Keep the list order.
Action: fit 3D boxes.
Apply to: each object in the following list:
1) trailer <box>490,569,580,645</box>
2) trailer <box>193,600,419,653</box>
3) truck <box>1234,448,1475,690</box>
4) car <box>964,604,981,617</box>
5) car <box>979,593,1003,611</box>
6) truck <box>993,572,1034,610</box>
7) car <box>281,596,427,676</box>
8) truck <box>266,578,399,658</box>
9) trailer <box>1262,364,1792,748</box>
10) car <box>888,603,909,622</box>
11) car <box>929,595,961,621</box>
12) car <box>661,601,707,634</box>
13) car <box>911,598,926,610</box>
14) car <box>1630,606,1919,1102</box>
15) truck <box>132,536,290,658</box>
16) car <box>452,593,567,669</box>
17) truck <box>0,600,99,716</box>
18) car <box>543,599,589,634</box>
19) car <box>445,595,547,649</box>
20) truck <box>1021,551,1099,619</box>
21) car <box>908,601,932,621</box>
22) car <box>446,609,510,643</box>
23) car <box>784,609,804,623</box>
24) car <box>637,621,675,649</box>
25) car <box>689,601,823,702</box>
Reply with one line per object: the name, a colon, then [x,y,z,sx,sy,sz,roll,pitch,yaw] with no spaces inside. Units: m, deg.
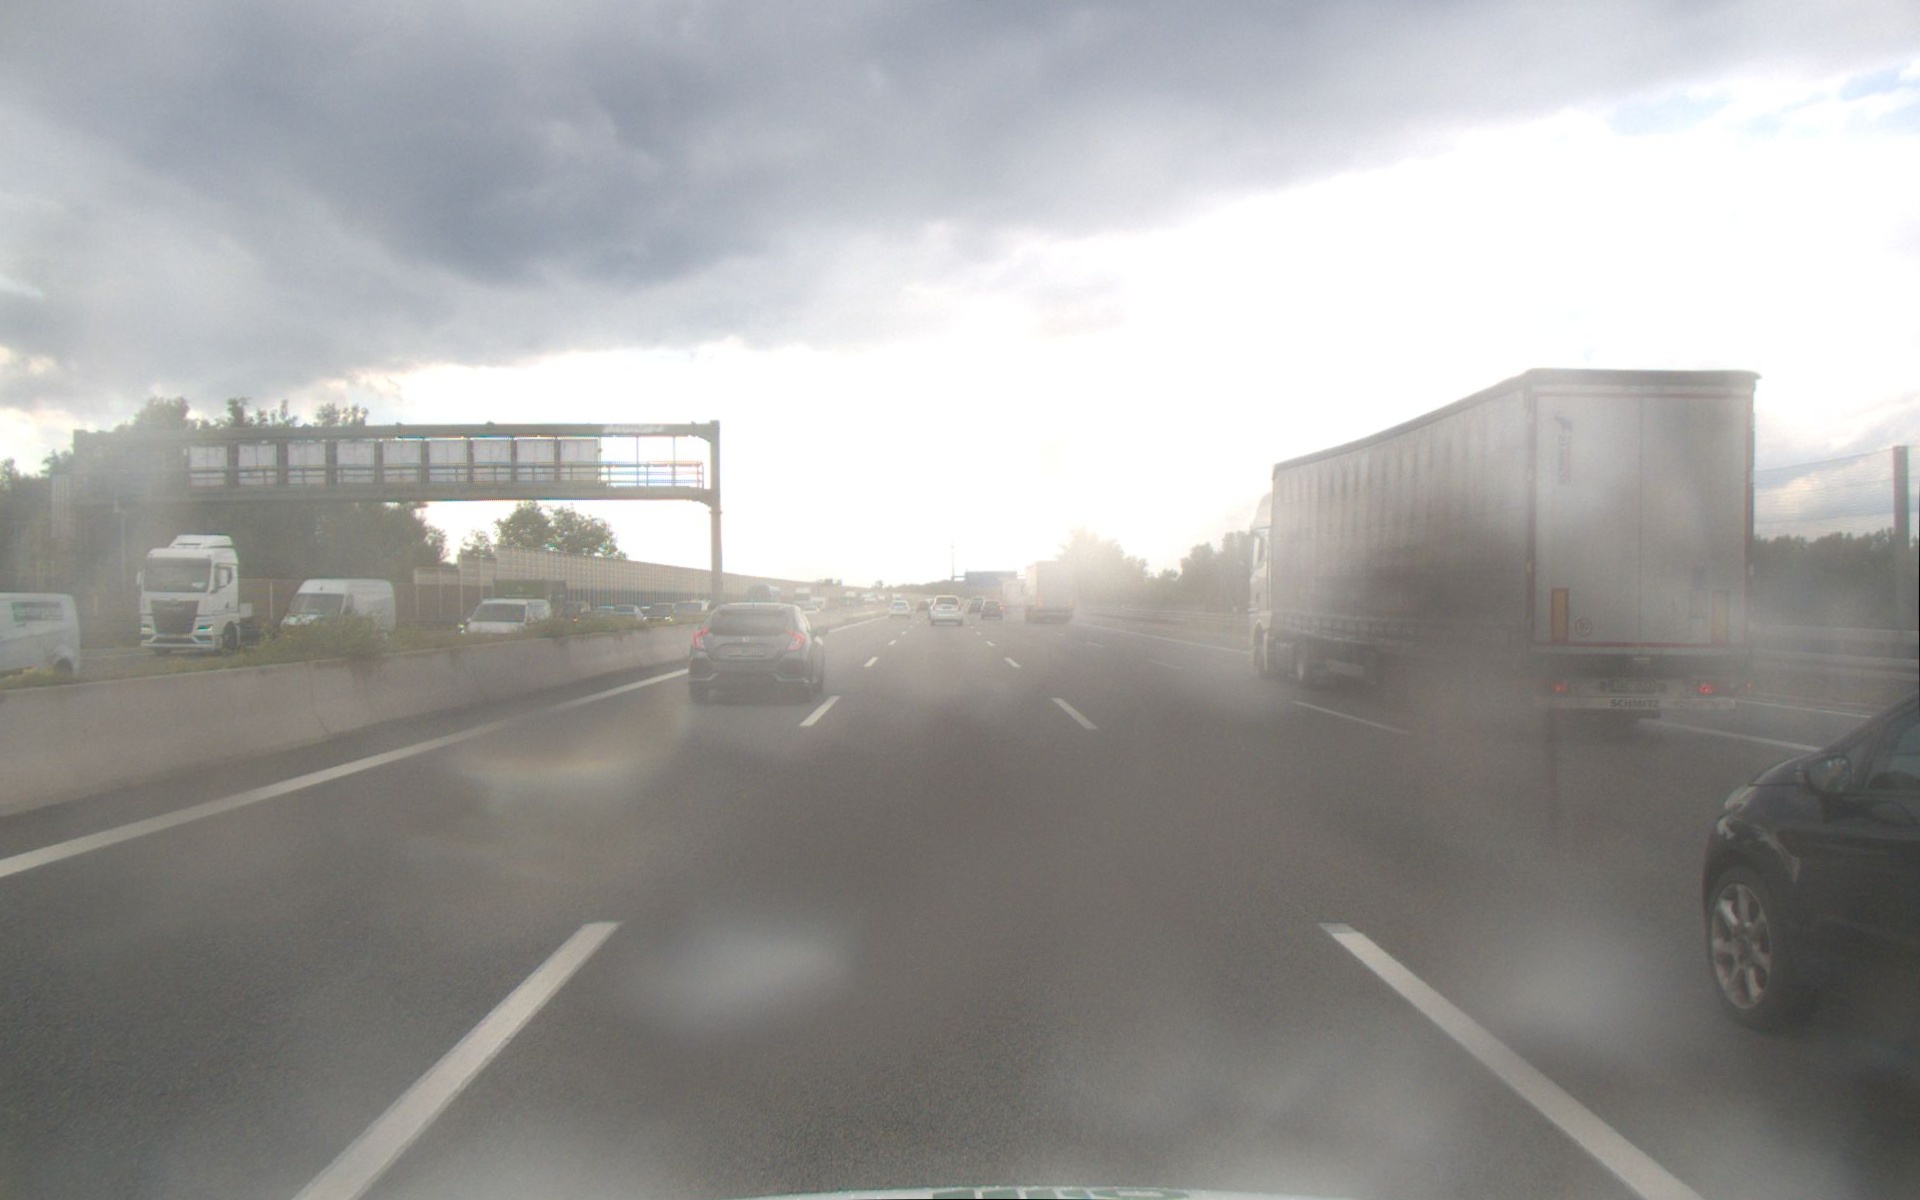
trailer: [-18.645,0.279,72.843,2.399,3.193,6.050,0,0,0]
trailer: [-25.743,0.926,66.484,2.696,1.860,16.347,0,0,0]
truck: [7.273,-0.547,31.485,2.901,4.090,6.587,1,0,-1]
car: [1.432,1.185,193.859,1.798,1.466,4.054,1,0,-1]
car: [2.546,0.146,135.818,1.798,1.466,4.054,1,0,-1]
truck: [6.208,-0.988,194.304,4.158,4.249,11.986,1,0,-1]
car: [-17.365,0.985,47.725,2.198,2.151,5.540,0,0,0]
truck: [-21.956,0.601,58.205,2.198,2.649,6.558,0,0,0]
trailer: [7.369,-0.512,24.780,2.901,4.090,14.116,1,0,-1]
car: [-5.070,1.019,136.288,1.737,1.466,3.872,1,0,-3]
car: [-0.920,0.461,98.412,1.737,1.466,4.053,1,0,-3]
car: [-15.339,0.952,92.062,1.779,1.739,4.806,0,0,0]
car: [-5.368,0.521,214.558,1.737,1.466,4.052,1,0,-3]
car: [3.560,0.766,5.360,1.418,1.466,3.162,0,0,-2]
truck: [-25.704,-0.105,57.093,2.696,3.955,6.050,0,0,0]
car: [-14.312,0.955,52.845,2.184,2.276,5.512,0,0,0]
truck: [-17.935,1.025,29.675,2.198,2.035,5.543,0,0,-2]
car: [-22.273,0.910,93.638,1.712,1.880,4.164,0,0,-2]
car: [-18.613,0.839,66.713,2.399,2.087,6.193,0,0,0]
truck: [6.774,-0.984,114.555,4.096,4.363,12.607,1,0,-2]
car: [-3.066,0.865,126.830,1.737,1.466,4.053,1,0,-3]
car: [-22.057,1.160,75.806,1.779,1.521,3.899,0,0,0]
car: [-19.114,1.842,190.719,1.711,1.552,4.927,0,0,0]
car: [-18.441,2.098,100.488,1.648,1.605,3.874,0,0,-2]
car: [-3.114,0.736,26.121,1.725,1.393,5.057,1,0,-3]
